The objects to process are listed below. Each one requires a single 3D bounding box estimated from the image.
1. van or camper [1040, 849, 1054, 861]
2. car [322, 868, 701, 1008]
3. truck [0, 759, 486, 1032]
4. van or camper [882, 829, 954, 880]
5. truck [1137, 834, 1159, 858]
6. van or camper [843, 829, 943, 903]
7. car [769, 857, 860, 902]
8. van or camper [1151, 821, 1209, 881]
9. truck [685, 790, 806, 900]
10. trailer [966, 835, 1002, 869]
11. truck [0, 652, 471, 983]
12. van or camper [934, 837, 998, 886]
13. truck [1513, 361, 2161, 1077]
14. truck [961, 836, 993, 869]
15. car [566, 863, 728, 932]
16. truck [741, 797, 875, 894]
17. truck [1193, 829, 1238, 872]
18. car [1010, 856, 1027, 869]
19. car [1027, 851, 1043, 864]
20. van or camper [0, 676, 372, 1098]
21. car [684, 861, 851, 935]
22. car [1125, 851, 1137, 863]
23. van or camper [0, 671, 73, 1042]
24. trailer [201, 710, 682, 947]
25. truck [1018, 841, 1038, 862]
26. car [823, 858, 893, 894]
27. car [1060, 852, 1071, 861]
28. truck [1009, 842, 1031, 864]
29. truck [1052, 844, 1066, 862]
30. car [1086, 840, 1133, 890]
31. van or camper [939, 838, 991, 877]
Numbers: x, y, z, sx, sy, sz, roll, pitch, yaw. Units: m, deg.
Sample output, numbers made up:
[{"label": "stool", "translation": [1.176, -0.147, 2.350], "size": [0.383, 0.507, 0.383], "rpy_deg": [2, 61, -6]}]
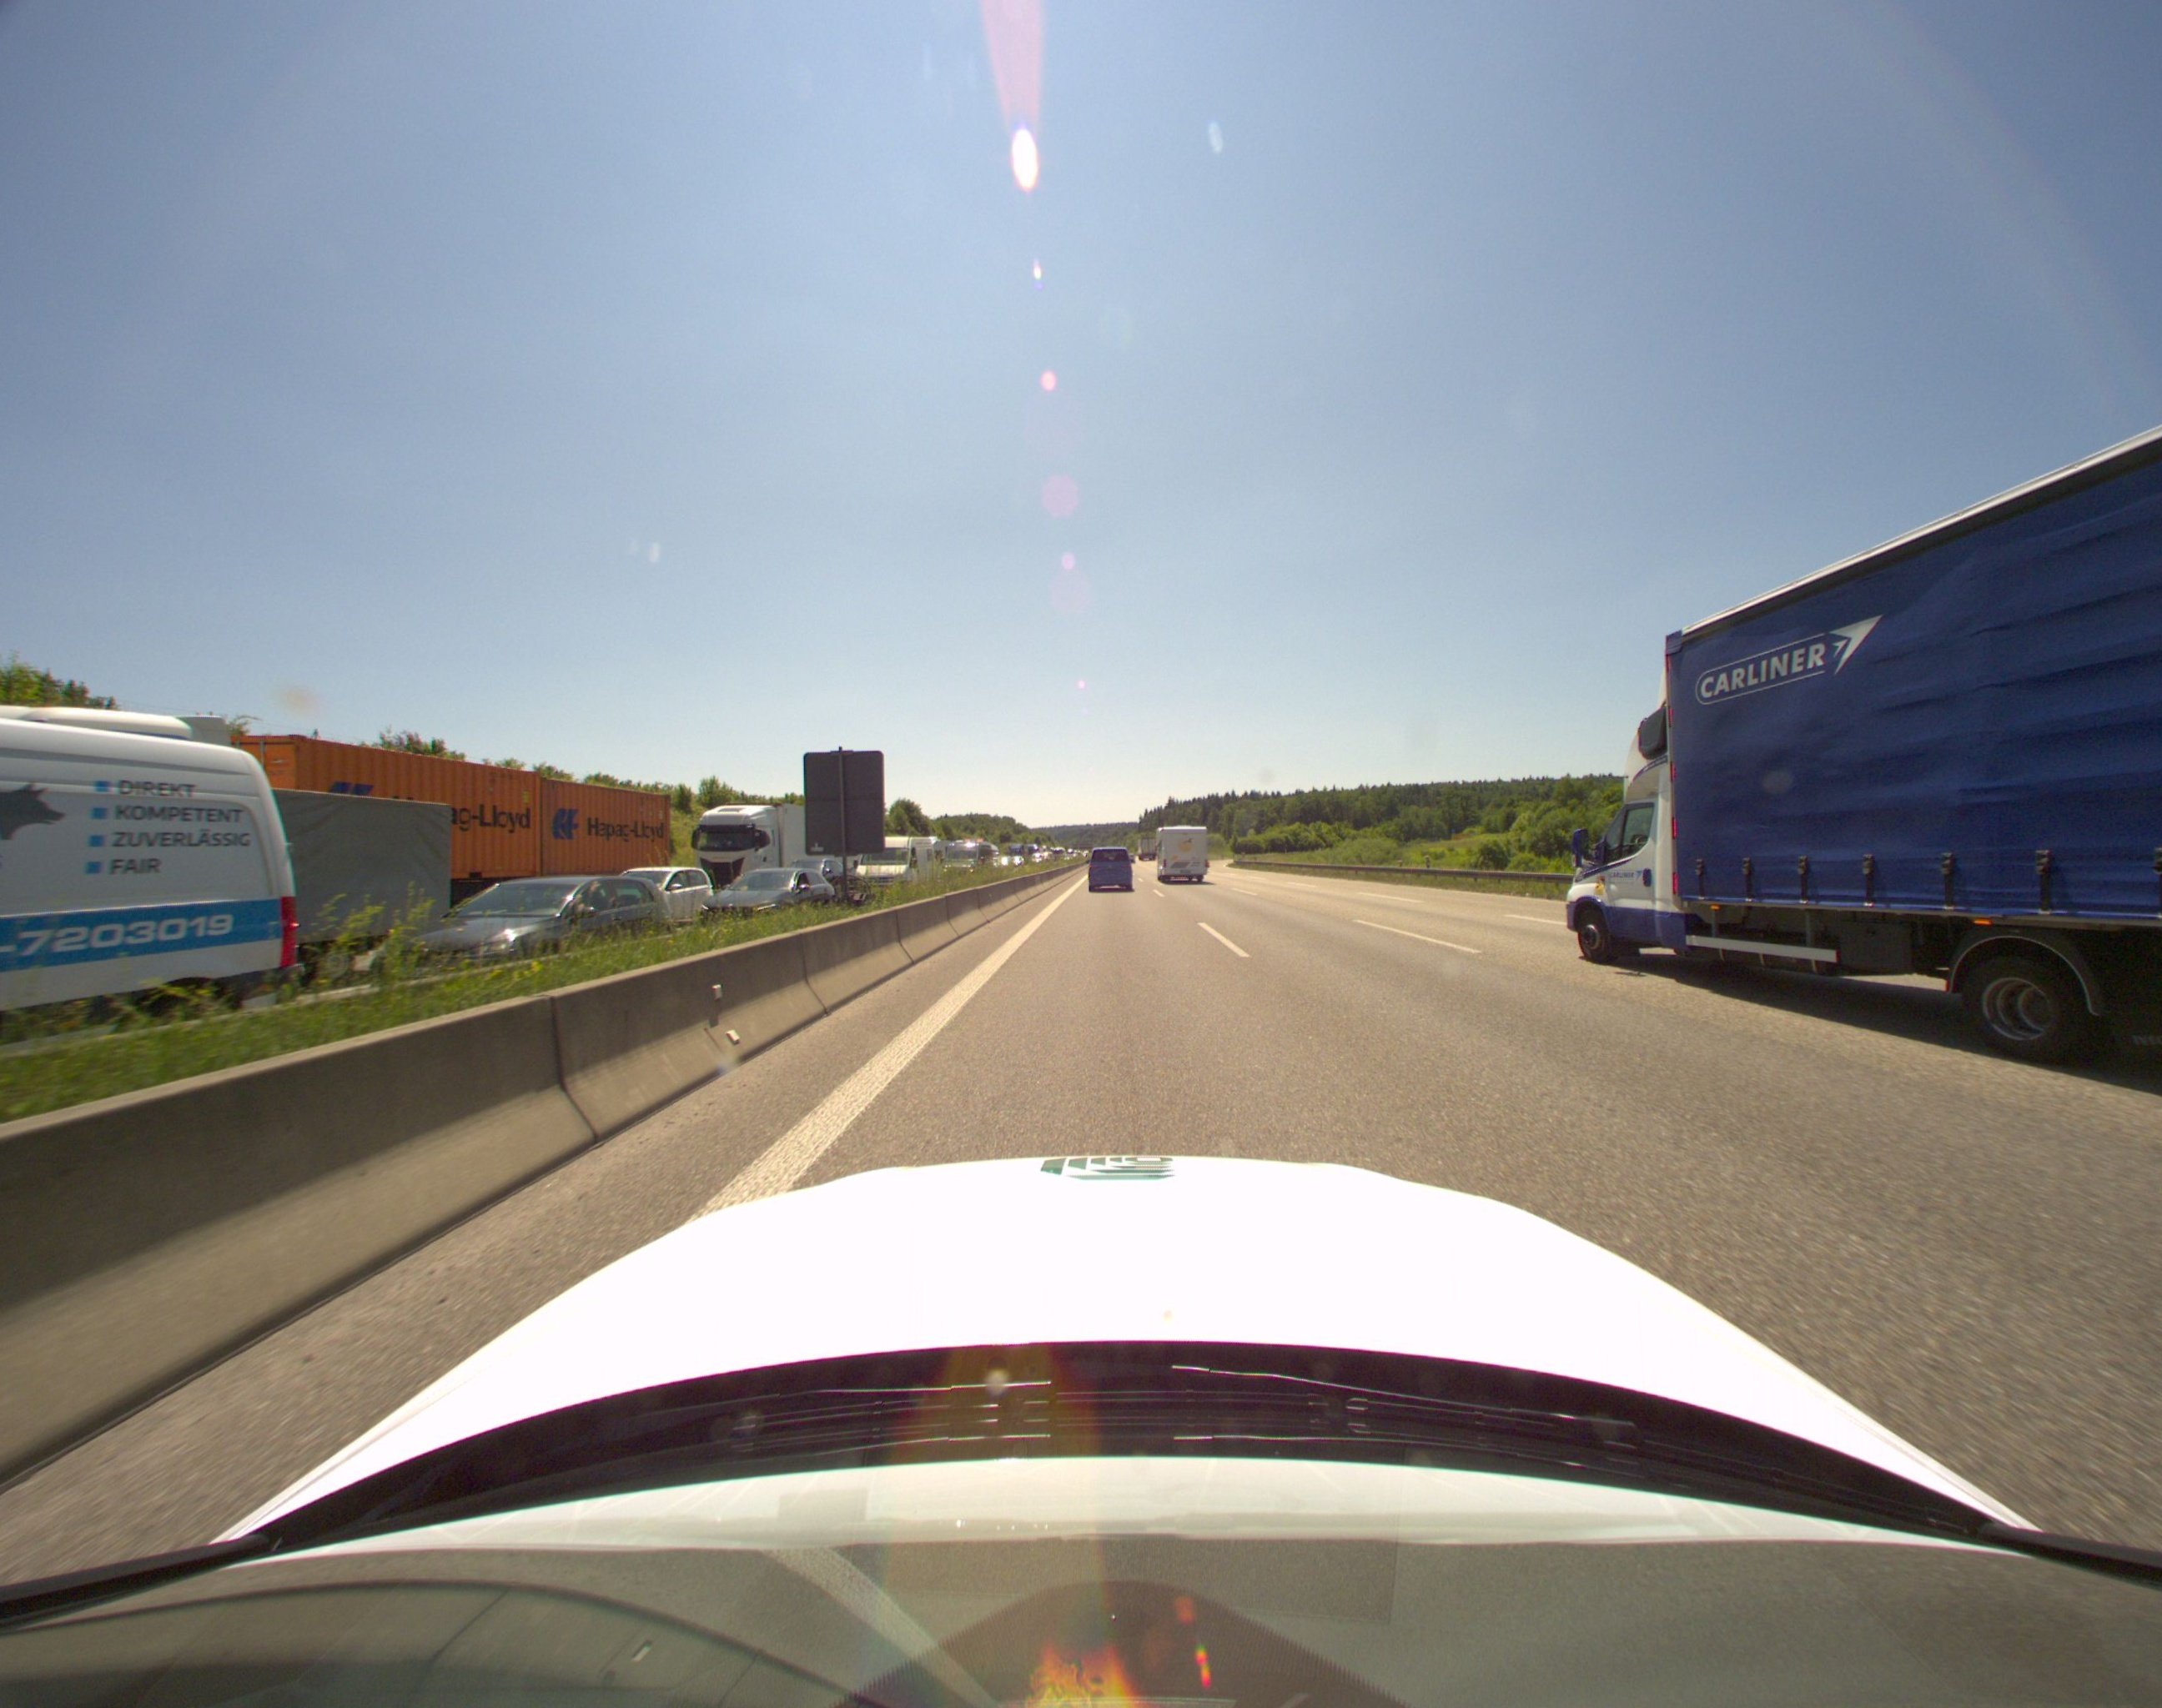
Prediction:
[{"label": "van or camper", "translation": [-6.293, 0.216, 151.187], "size": [1.986, 2.153, 5.957], "rpy_deg": [-3, 0, 1]}, {"label": "car", "translation": [-7.187, 0.948, 11.003], "size": [1.895, 1.408, 4.432], "rpy_deg": [-1, 0, 1]}, {"label": "truck", "translation": [-10.969, 0.419, 9.930], "size": [2.226, 2.506, 6.864], "rpy_deg": [-1, 0, 1]}, {"label": "van or camper", "translation": [-10.150, 0.059, 51.594], "size": [2.534, 2.937, 7.834], "rpy_deg": [-1, 0, 3]}, {"label": "truck", "translation": [12.042, -1.330, 146.193], "size": [3.474, 4.170, 8.645], "rpy_deg": [0, 0, 2]}, {"label": "van or camper", "translation": [-6.960, 0.430, 30.958], "size": [2.185, 2.506, 6.059], "rpy_deg": [-1, 0, 1]}, {"label": "car", "translation": [-10.284, 0.921, 31.794], "size": [1.812, 1.588, 4.884], "rpy_deg": [-1, 0, 1]}, {"label": "van or camper", "translation": [5.431, -0.157, 45.592], "size": [2.593, 3.079, 7.184], "rpy_deg": [0, 0, 2]}, {"label": "truck", "translation": [-14.139, -0.340, 34.814], "size": [2.510, 4.325, 5.671], "rpy_deg": [0, 0, 3]}, {"label": "trailer", "translation": [-12.201, -0.242, 103.610], "size": [2.670, 3.949, 12.277], "rpy_deg": [-4, 0, 1]}, {"label": "truck", "translation": [-14.794, -0.457, 14.277], "size": [2.580, 4.325, 7.294], "rpy_deg": [0, 0, 1]}, {"label": "van or camper", "translation": [-6.211, 0.393, 45.105], "size": [2.289, 2.435, 7.285], "rpy_deg": [-1, 0, 1]}, {"label": "truck", "translation": [7.691, -0.769, 7.212], "size": [2.773, 4.128, 9.742], "rpy_deg": [0, 0, 1]}, {"label": "truck", "translation": [-12.305, -0.146, 96.759], "size": [2.772, 3.823, 6.034], "rpy_deg": [0, 0, 2]}, {"label": "car", "translation": [-10.611, 0.997, 20.296], "size": [1.725, 1.465, 4.115], "rpy_deg": [-1, 0, 1]}, {"label": "truck", "translation": [-13.787, -0.345, 42.667], "size": [2.511, 4.325, 12.426], "rpy_deg": [0, 0, 2]}, {"label": "truck", "translation": [12.082, -0.389, 73.981], "size": [2.916, 3.575, 8.531], "rpy_deg": [-2, 1, 2]}, {"label": "car", "translation": [-8.079, 1.119, 105.738], "size": [1.747, 1.550, 4.191], "rpy_deg": [1, 0, 2]}, {"label": "car", "translation": [-7.317, 0.514, 128.817], "size": [2.016, 1.958, 5.096], "rpy_deg": [-1, 0, 2]}, {"label": "van or camper", "translation": [-7.626, 0.215, 4.191], "size": [2.185, 2.541, 6.418], "rpy_deg": [-1, 0, 1]}, {"label": "car", "translation": [-6.963, 0.902, 18.728], "size": [1.812, 1.408, 4.884], "rpy_deg": [-1, 0, 1]}, {"label": "car", "translation": [7.858, 0.455, 127.610], "size": [1.811, 1.794, 3.896], "rpy_deg": [0, 0, 2]}, {"label": "van or camper", "translation": [-11.102, 0.022, 4.117], "size": [2.304, 3.390, 7.682], "rpy_deg": [-1, 0, 1]}, {"label": "trailer", "translation": [-14.625, -0.437, 20.888], "size": [2.602, 4.310, 12.003], "rpy_deg": [0, 0, 1]}, {"label": "truck", "translation": [-10.745, -0.501, 166.625], "size": [3.477, 4.037, 6.646], "rpy_deg": [0, 0, 2]}, {"label": "car", "translation": [-10.490, 0.996, 38.698], "size": [1.812, 1.588, 4.884], "rpy_deg": [-1, 0, 1]}, {"label": "car", "translation": [-2.901, 0.450, 155.655], "size": [1.747, 1.584, 4.856], "rpy_deg": [-1, 0, 2]}, {"label": "truck", "translation": [-10.523, -0.126, 141.520], "size": [2.535, 3.674, 9.942], "rpy_deg": [-1, 0, 2]}, {"label": "truck", "translation": [-5.050, -0.291, 189.089], "size": [2.608, 3.890, 7.405], "rpy_deg": [-2, -1, 2]}, {"label": "car", "translation": [1.250, 0.439, 35.813], "size": [1.902, 2.013, 4.002], "rpy_deg": [-2, 0, 2]}, {"label": "van or camper", "translation": [-9.403, 0.279, 67.013], "size": [2.534, 2.937, 8.138], "rpy_deg": [-1, 0, 3]}]
